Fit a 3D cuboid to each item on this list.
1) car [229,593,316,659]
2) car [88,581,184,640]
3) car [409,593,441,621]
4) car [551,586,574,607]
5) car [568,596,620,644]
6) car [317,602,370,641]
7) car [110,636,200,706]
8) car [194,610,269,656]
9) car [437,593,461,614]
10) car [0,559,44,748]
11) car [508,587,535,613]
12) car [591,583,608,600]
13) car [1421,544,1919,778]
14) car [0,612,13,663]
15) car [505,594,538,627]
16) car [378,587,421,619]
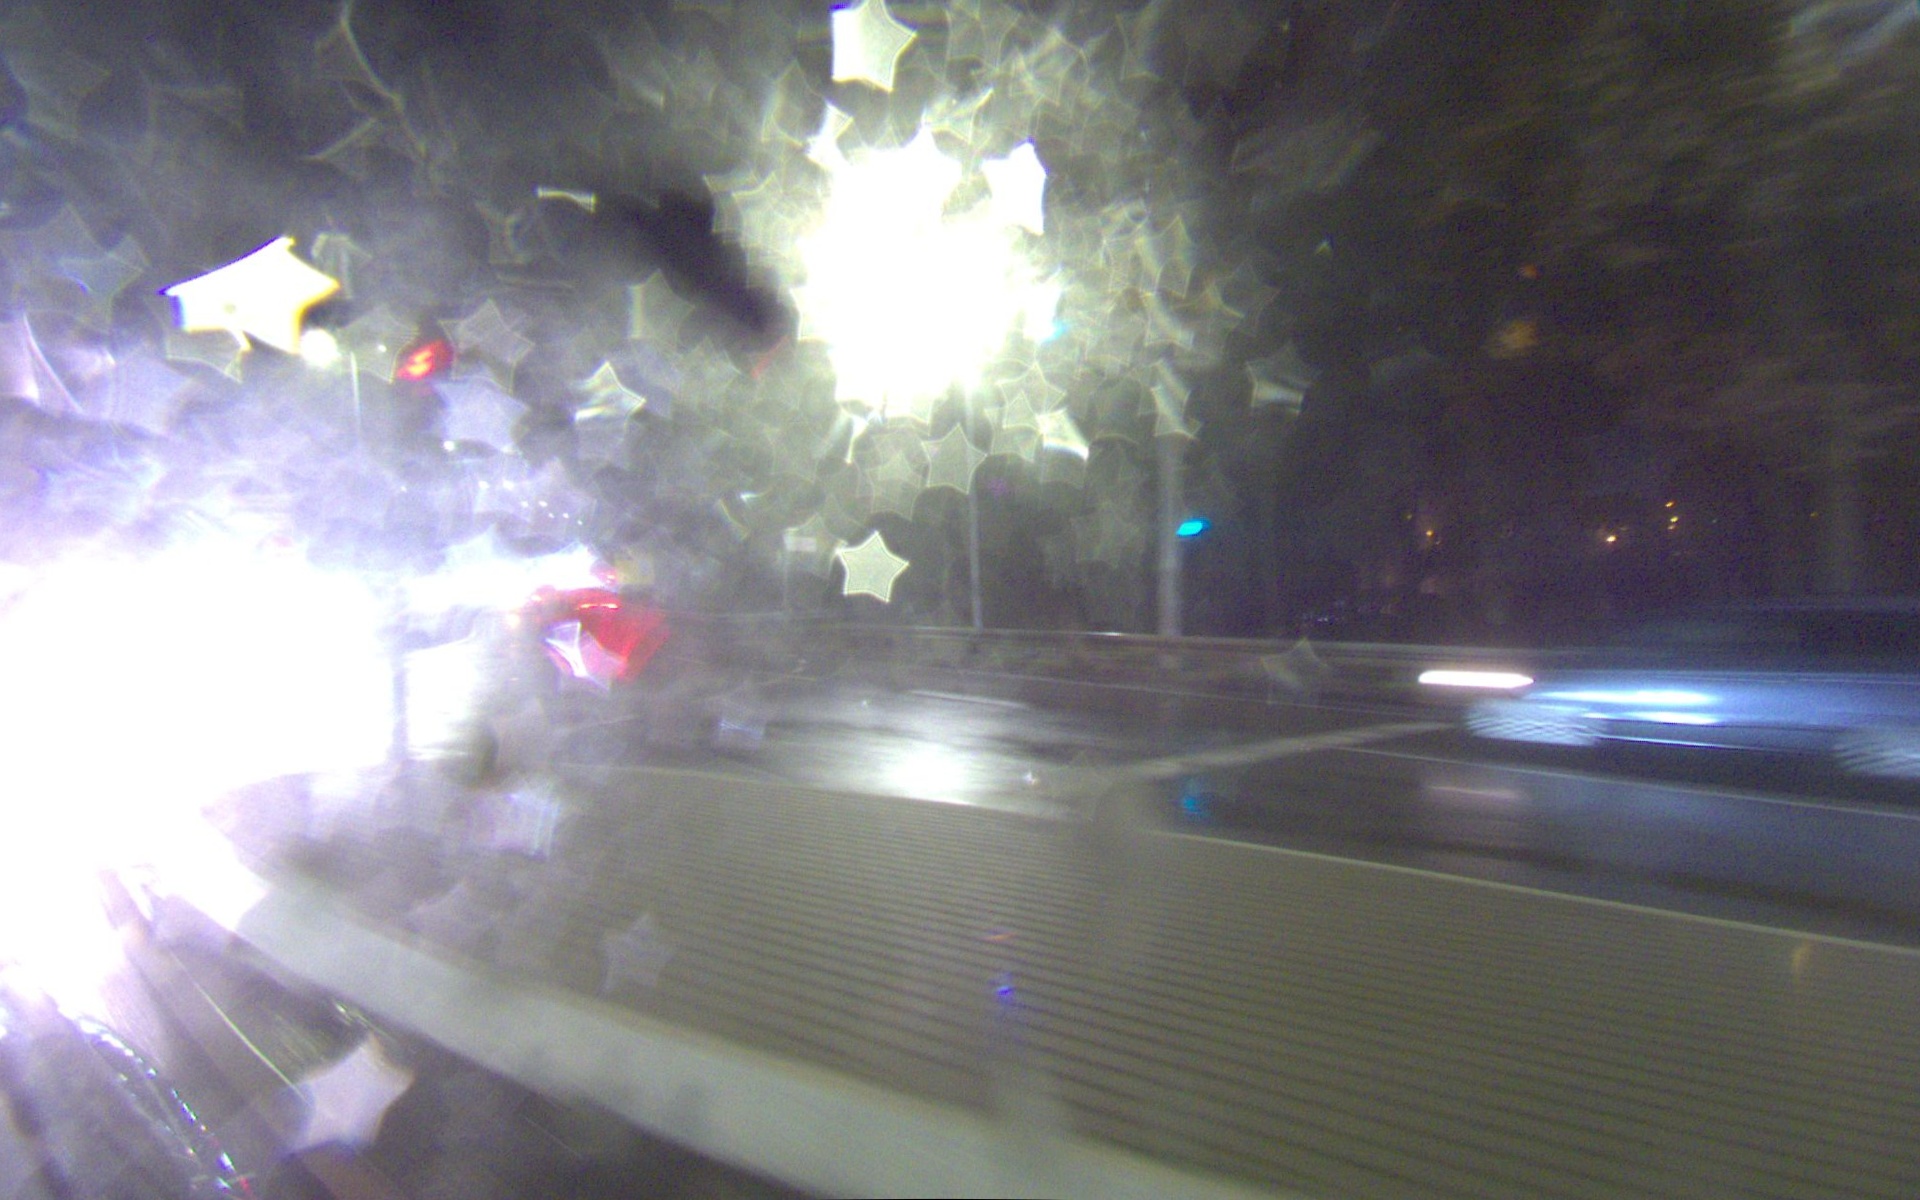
[{"bbox_3d":[-27.748,0.979,41.000,1.966,2.027,4.015,-5,7,-22],"label":"car"},{"bbox_3d":[-30.592,0.366,37.703,1.838,2.029,4.013,-2,0,-25],"label":"car"},{"bbox_3d":[-41.952,0.545,79.445,1.838,2.029,4.013,-2,0,-22],"label":"car"},{"bbox_3d":[-40.039,-0.346,102.033,1.764,2.029,4.012,-1,0,-16],"label":"car"},{"bbox_3d":[-16.836,0.902,46.464,1.965,2.029,4.013,-2,0,-23],"label":"car"},{"bbox_3d":[-34.159,1.172,56.147,1.965,2.029,4.013,-2,0,-24],"label":"car"},{"bbox_3d":[-20.383,1.753,25.725,1.283,1.541,3.055,-2,0,-30],"label":"car"},{"bbox_3d":[-35.240,1.541,49.071,1.805,2.029,4.012,-2,0,-18],"label":"car"},{"bbox_3d":[-52.452,0.351,104.000,1.838,2.029,4.013,-2,0,-22],"label":"car"},{"bbox_3d":[-12.169,0.594,11.896,1.969,2.028,4.005,-3,2,-42],"label":"car"},{"bbox_3d":[-32.608,-0.002,75.315,1.714,1.870,4.013,-2,0,-23],"label":"car"},{"bbox_3d":[-46.293,-1.062,129.965,1.764,2.029,4.012,-1,0,-16],"label":"car"},{"bbox_3d":[6.722,0.442,8.467,1.960,1.617,4.841,0,-1,-40],"label":"car"},{"bbox_3d":[-32.552,1.281,31.960,1.967,1.711,4.273,-2,0,-13],"label":"car"},{"bbox_3d":[-26.590,0.628,61.441,1.714,1.870,4.013,-2,0,-23],"label":"car"},{"bbox_3d":[-37.877,0.202,68.459,1.838,2.029,4.013,-2,0,-19],"label":"car"}]
